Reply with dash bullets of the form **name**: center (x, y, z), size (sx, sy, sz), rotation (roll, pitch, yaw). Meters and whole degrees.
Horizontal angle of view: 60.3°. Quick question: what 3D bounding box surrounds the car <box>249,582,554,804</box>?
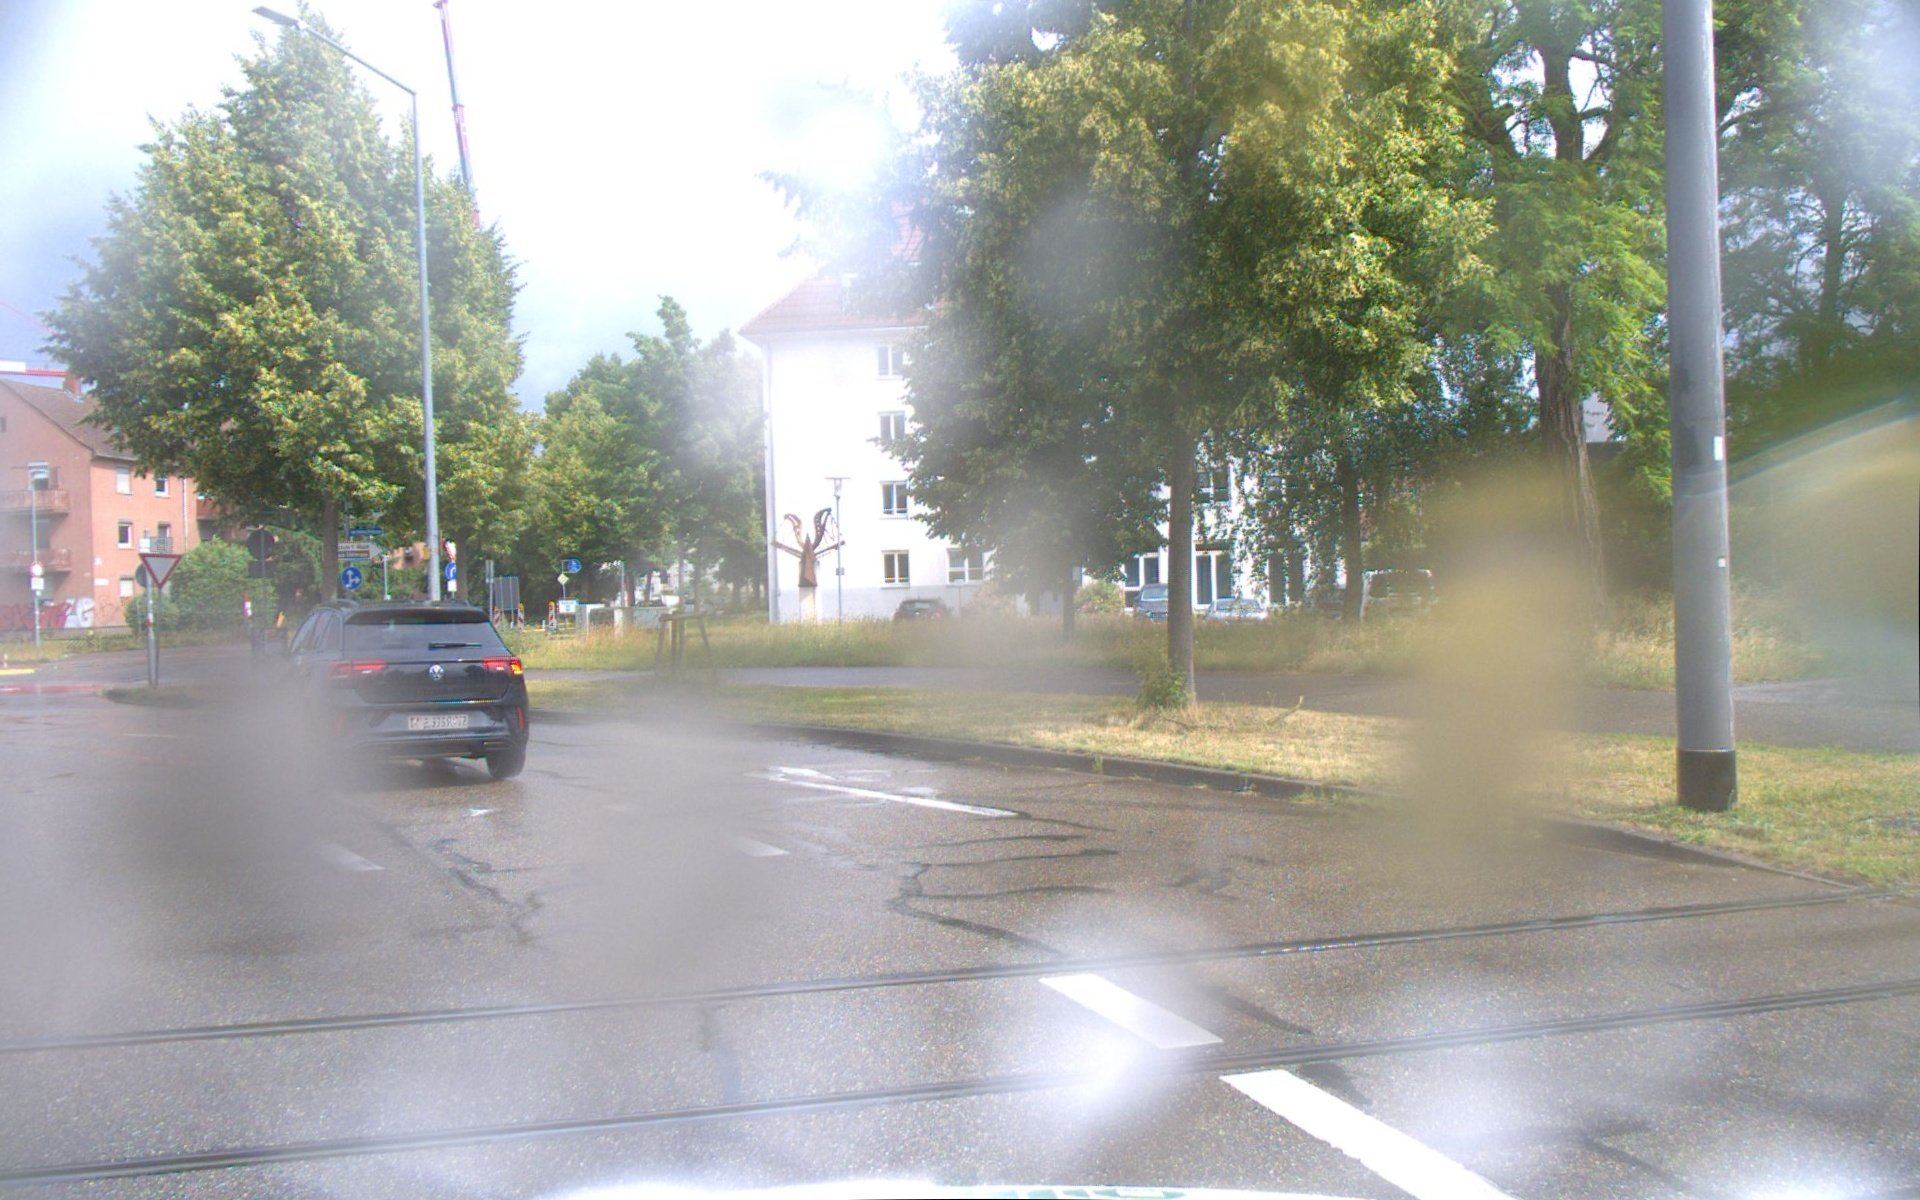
- **car**: center (-5.186, 0.743, 15.015), size (1.877, 1.646, 3.960), rotation (-3, 1, -29)

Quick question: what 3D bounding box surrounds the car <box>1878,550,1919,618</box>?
- **car**: center (23.328, -0.404, 38.659), size (1.805, 1.587, 3.982), rotation (-2, 0, 6)

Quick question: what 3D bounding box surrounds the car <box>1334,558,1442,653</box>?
- **car**: center (10.515, 0.072, 40.943), size (2.061, 2.093, 5.166), rotation (-3, 1, 9)

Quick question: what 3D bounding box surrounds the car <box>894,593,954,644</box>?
- **car**: center (-1.137, 0.571, 53.405), size (1.635, 1.508, 3.741), rotation (-2, 1, 3)

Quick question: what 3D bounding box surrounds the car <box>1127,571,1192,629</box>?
- **car**: center (6.297, -0.032, 52.576), size (1.807, 1.579, 4.109), rotation (-2, 3, 4)

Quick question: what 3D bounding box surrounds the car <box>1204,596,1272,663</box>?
- **car**: center (6.884, 0.709, 41.140), size (1.569, 1.536, 3.624), rotation (-2, 0, 9)

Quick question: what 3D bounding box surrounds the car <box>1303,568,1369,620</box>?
- **car**: center (11.756, -0.207, 51.868), size (1.623, 1.368, 3.585), rotation (-2, 3, 7)
